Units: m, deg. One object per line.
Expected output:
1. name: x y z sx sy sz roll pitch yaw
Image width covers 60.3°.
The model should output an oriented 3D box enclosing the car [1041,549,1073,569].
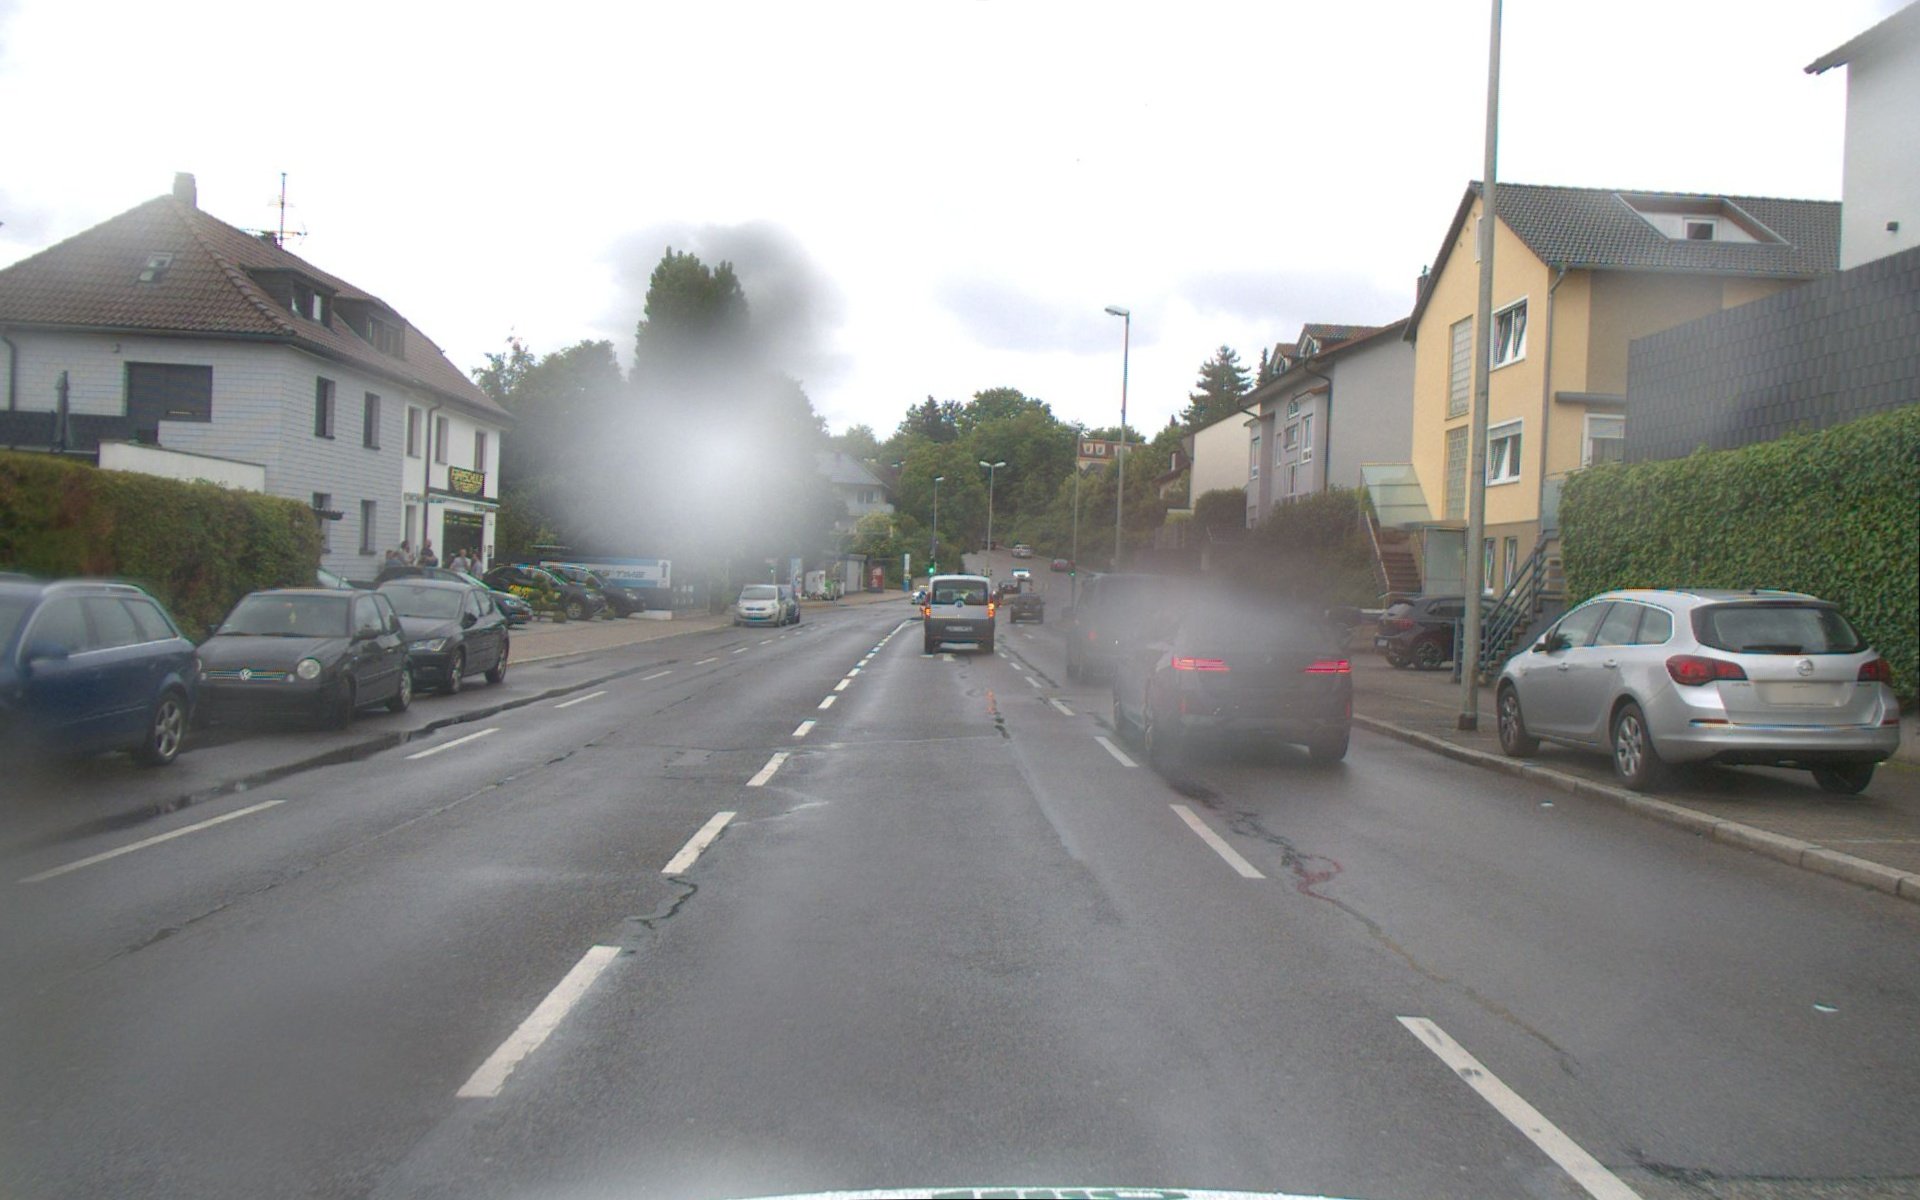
1. car: 11.297 -4.799 192.812 2.476 2.048 5.597 1 3 -10

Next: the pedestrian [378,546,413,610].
1. pedestrian: -15.537 -0.609 45.539 0.588 1.694 0.650 4 0 4

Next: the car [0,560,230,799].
1. car: -7.104 0.487 11.958 1.721 1.559 4.286 2 0 0

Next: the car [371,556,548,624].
1. car: -13.049 -0.251 43.307 3.990 1.542 1.855 3 0 -1

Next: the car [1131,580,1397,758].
1. car: 2.873 0.598 16.504 1.952 1.509 4.001 2 0 1

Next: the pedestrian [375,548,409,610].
1. pedestrian: -15.946 -0.589 46.463 0.588 1.694 0.650 4 0 4

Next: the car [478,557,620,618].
1. car: -13.197 -0.401 53.320 3.991 1.542 1.855 5 0 -1

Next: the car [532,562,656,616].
1. car: -13.313 -0.394 60.253 3.991 1.542 1.855 5 0 -1

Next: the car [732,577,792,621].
1. car: -7.709 -0.046 64.641 1.846 1.612 4.000 2 0 0

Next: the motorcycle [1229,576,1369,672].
1. motorcycle: 5.449 0.386 26.647 2.042 1.476 0.758 2 0 -6

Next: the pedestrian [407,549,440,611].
1. pedestrian: -15.250 -0.565 47.019 0.588 1.694 0.650 4 0 4

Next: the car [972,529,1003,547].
1. car: 3.753 -8.506 227.447 2.482 2.047 5.585 2 5 -18

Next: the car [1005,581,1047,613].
1. car: 3.369 -0.189 85.277 1.953 1.606 4.000 0 1 -1

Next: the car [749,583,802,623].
1. car: -7.922 0.105 71.347 1.846 1.612 4.000 2 0 0

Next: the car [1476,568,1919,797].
1. car: 5.846 0.557 13.634 1.666 1.536 4.533 2 0 -1

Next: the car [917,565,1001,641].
1. car: -0.038 0.062 41.428 1.953 1.768 4.000 2 0 0

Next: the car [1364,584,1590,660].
1. car: 10.223 0.422 32.877 3.907 1.458 1.868 0 0 -3

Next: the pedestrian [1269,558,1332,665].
1. pedestrian: 5.479 0.179 26.658 0.814 1.678 0.621 1 0 -5

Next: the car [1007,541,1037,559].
1. car: 7.910 -6.452 213.190 2.478 2.048 5.593 2 4 -13

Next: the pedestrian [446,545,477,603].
1. pedestrian: -14.947 -0.782 49.600 0.588 1.694 0.650 4 0 7

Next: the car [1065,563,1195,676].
1. car: 2.908 0.305 29.063 1.801 1.798 4.000 2 0 0

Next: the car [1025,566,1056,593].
1. car: 7.287 -1.876 149.892 2.470 2.048 5.610 2 3 0

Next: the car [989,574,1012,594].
1. car: 3.763 -1.470 153.710 1.953 1.803 4.000 0 1 -1

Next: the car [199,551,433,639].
1. car: -12.907 -0.105 33.318 3.906 1.542 1.855 3 0 -1

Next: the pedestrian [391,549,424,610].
1. pedestrian: -15.988 -0.596 47.880 0.588 1.694 0.650 4 0 4

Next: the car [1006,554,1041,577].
1. car: 6.774 -3.686 176.926 2.476 2.048 5.597 2 4 -10

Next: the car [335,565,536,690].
1. car: -7.280 0.346 23.368 1.722 1.559 4.205 2 0 -4

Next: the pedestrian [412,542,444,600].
1. pedestrian: -16.022 -0.879 49.808 0.588 1.694 0.650 4 0 4

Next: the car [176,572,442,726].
1. car: -6.927 0.462 18.024 1.520 1.456 4.011 2 0 -4

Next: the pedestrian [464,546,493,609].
1. pedestrian: -14.258 -0.666 48.959 0.589 1.821 0.649 4 0 -6

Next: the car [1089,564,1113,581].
1. car: 13.830 -2.683 162.244 1.953 1.612 4.000 2 0 0

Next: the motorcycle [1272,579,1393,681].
1. motorcycle: 5.662 0.429 25.073 0.808 1.476 2.074 1 1 45
